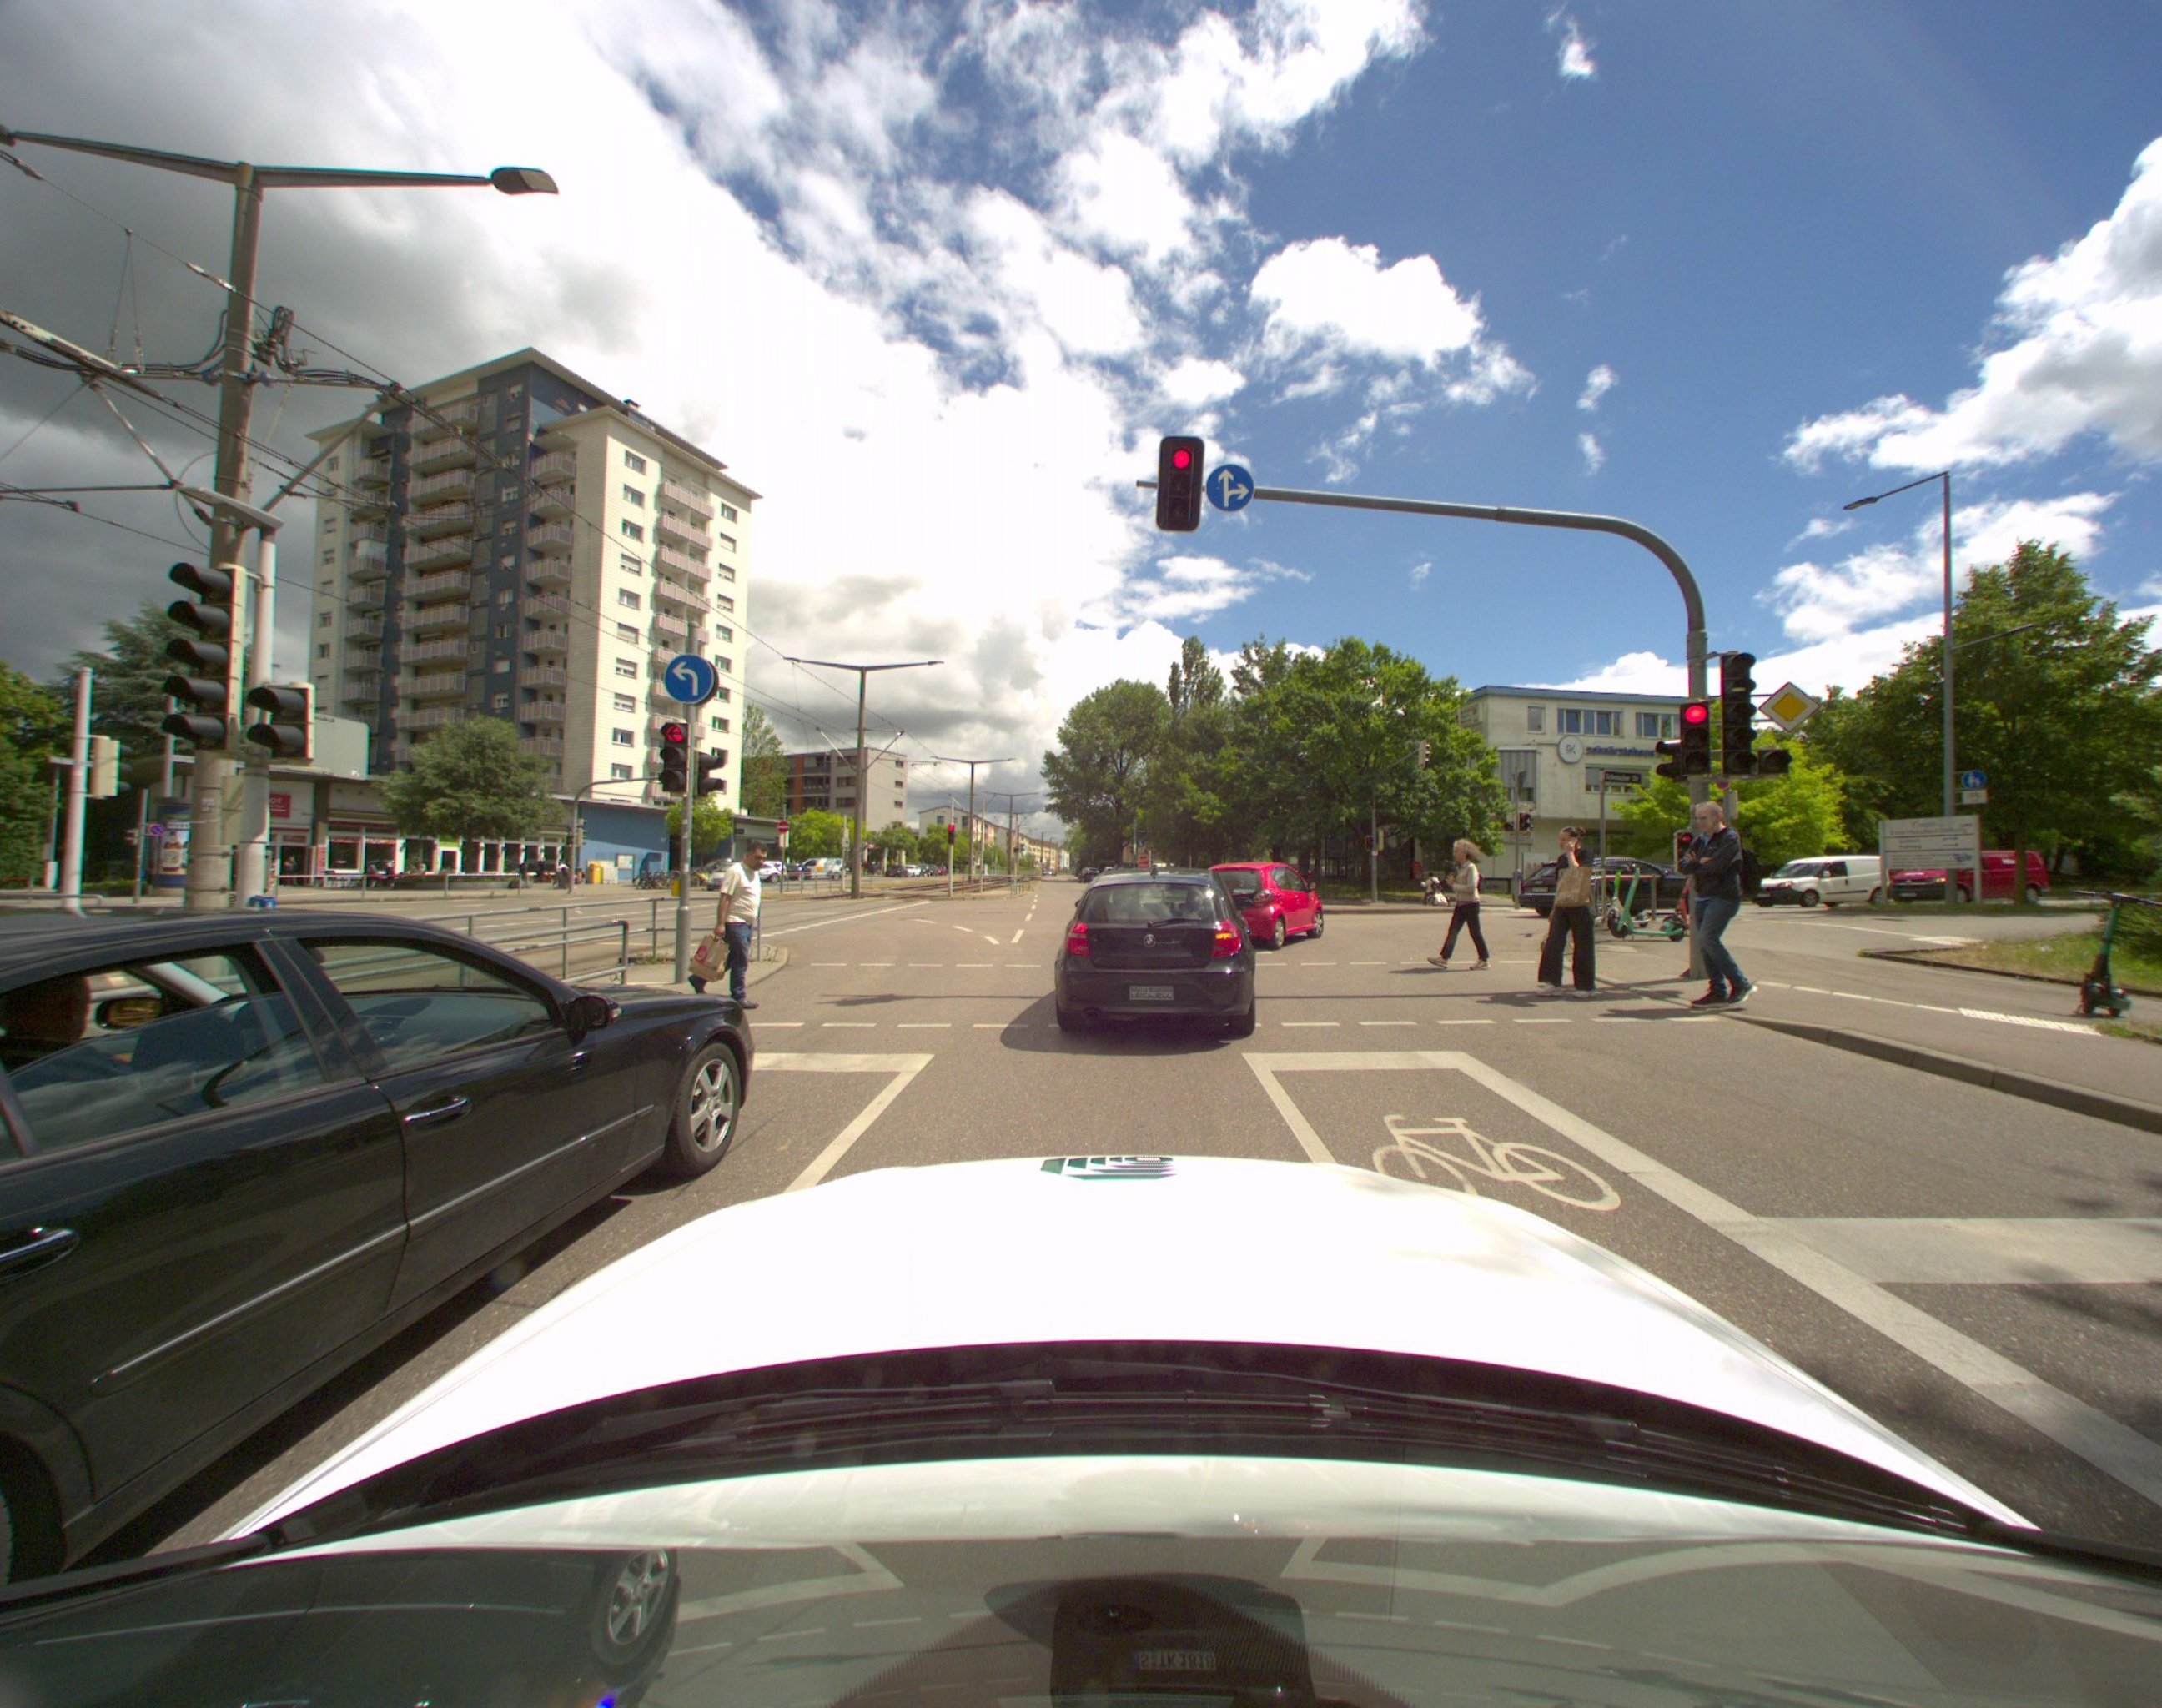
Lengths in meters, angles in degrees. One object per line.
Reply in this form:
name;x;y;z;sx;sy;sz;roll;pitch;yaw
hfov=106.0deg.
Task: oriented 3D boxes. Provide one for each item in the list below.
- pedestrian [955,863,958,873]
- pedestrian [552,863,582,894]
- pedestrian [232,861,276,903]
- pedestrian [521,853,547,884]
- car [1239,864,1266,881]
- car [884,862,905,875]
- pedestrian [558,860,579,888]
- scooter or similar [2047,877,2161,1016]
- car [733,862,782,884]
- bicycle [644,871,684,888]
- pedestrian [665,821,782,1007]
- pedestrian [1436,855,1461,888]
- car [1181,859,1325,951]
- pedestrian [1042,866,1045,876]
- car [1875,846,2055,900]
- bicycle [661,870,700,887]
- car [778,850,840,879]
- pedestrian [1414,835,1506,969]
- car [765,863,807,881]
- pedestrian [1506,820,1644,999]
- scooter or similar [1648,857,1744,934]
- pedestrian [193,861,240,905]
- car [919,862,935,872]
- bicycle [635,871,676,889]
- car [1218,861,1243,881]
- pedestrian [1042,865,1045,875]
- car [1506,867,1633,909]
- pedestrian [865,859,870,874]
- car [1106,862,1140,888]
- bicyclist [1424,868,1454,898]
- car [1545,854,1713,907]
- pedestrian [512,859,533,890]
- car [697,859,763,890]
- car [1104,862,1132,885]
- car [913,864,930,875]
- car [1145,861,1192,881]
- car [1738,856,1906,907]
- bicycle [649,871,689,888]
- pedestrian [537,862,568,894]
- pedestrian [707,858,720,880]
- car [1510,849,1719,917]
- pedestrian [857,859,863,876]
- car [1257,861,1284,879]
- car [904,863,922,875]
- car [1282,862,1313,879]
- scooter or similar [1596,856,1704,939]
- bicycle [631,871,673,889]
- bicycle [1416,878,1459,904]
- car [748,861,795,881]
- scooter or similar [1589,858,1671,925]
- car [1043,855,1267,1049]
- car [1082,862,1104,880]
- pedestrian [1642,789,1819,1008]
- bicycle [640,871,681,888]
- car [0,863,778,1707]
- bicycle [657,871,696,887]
pedestrian;-20.590;2.355;134.688;0.451;1.637;0.480;0;-1;-1
pedestrian;-28.196;1.352;44.712;0.941;1.659;1.099;-1;-1;2
pedestrian;-32.862;1.106;32.363;0.957;1.659;1.002;-1;-1;28
pedestrian;-34.785;0.910;51.810;0.862;1.917;1.214;0;0;-1
car;16.304;1.745;77.460;1.626;1.573;4.030;0;0;-1
car;-21.550;1.651;94.170;1.758;1.395;3.993;0;0;-5
pedestrian;-29.417;1.136;46.745;0.767;1.615;0.695;0;-1;-12
scooter or similar;10.623;0.939;8.432;1.247;1.276;0.709;6;-2;-38
car;-24.315;1.423;61.115;4.165;1.570;1.973;0;-1;45
bicycle;-23.146;1.408;45.246;1.943;0.935;0.494;0;-1;-5
pedestrian;-3.628;0.587;8.322;0.866;1.808;0.741;0;0;-2
pedestrian;18.745;0.898;41.569;0.769;1.643;0.903;0;0;-14
car;3.183;0.811;14.668;1.527;1.441;3.216;0;0;32
pedestrian;-6.070;2.704;132.401;0.334;1.627;0.356;0;-1;-16
car;32.006;0.695;29.549;4.800;1.864;1.995;0;-2;-8
bicycle;-23.072;1.423;46.890;1.943;0.935;0.494;0;-1;-5
car;-24.321;0.948;72.688;2.848;2.478;6.642;0;0;-41
pedestrian;4.982;0.612;10.776;0.945;1.674;0.874;-1;-1;17
car;-24.527;1.439;67.673;1.800;1.420;4.166;0;0;-43
pedestrian;5.142;0.544;8.519;0.933;1.765;0.770;-1;0;-10
scooter or similar;10.366;0.693;13.744;1.225;1.240;0.555;2;0;-7
pedestrian;-33.239;1.099;31.332;0.957;1.659;1.002;-1;-1;28
car;-21.288;1.767;112.825;1.758;1.395;3.993;0;0;-5
bicycle;-23.101;1.399;44.264;1.943;0.935;0.494;0;-1;-5
car;14.086;1.609;76.826;1.626;1.811;4.030;0;0;-1
pedestrian;-6.135;2.642;132.447;0.477;1.637;0.454;0;-1;1
car;19.021;1.297;31.799;3.906;1.555;1.994;0;0;-9
pedestrian;-24.552;1.456;93.611;0.547;1.716;0.404;0;-1;-8
car;2.779;1.380;54.255;2.144;1.684;4.001;0;-1;2
bicyclist;12.473;0.994;28.361;0.788;1.022;0.636;0;-1;1
car;18.670;0.868;27.871;4.551;1.717;1.996;0;0;-5
pedestrian;-30.158;1.099;44.015;0.769;1.615;0.694;0;-1;-19
car;-19.683;1.126;45.832;1.929;1.693;3.874;0;0;2
car;2.795;1.476;61.708;1.986;1.684;4.001;0;-1;2
car;-21.140;2.087;107.804;1.758;1.395;3.993;0;0;-5
car;8.141;1.543;75.644;4.001;1.823;1.766;0;0;-21
car;26.321;0.939;29.007;4.555;1.717;1.995;0;0;-8
bicycle;-23.128;1.412;45.748;1.943;0.935;0.494;0;-1;-5
pedestrian;-28.225;1.282;43.496;0.941;1.659;1.099;-1;-1;2
pedestrian;-27.929;1.138;61.833;0.768;1.615;0.695;0;-1;-15
car;13.338;0.686;20.418;4.518;1.554;1.988;0;-1;-18
pedestrian;-23.202;1.428;85.435;0.547;1.716;0.667;0;-1;-8
car;18.237;1.520;78.524;1.626;1.595;3.998;0;0;-1
car;-20.971;1.892;101.675;1.758;1.395;3.993;0;0;-5
car;20.956;1.560;78.980;1.728;1.595;3.992;0;0;-5
scooter or similar;8.977;0.677;12.873;1.336;1.277;0.463;0;0;8
bicycle;-23.066;1.394;43.797;1.943;0.935;0.494;0;-1;-5
bicycle;12.481;1.284;28.560;0.788;0.819;1.808;0;0;2
car;-24.484;1.311;64.383;4.165;1.538;1.973;0;-1;45
scooter or similar;9.885;0.674;14.658;1.360;1.156;0.540;1;0;-23
car;0.837;0.753;8.352;1.743;1.487;4.009;0;0;8
car;1.191;1.599;77.036;1.986;1.684;4.002;0;0;2
pedestrian;6.080;0.395;7.682;0.963;1.942;0.896;0;0;-3
bicycle;-23.124;1.404;44.770;1.943;0.935;0.494;0;-1;-5
car;-2.697;0.773;2.450;1.721;1.461;4.546;0;0;2
bicycle;-23.043;1.418;46.399;1.943;0.935;0.494;0;-1;-5
